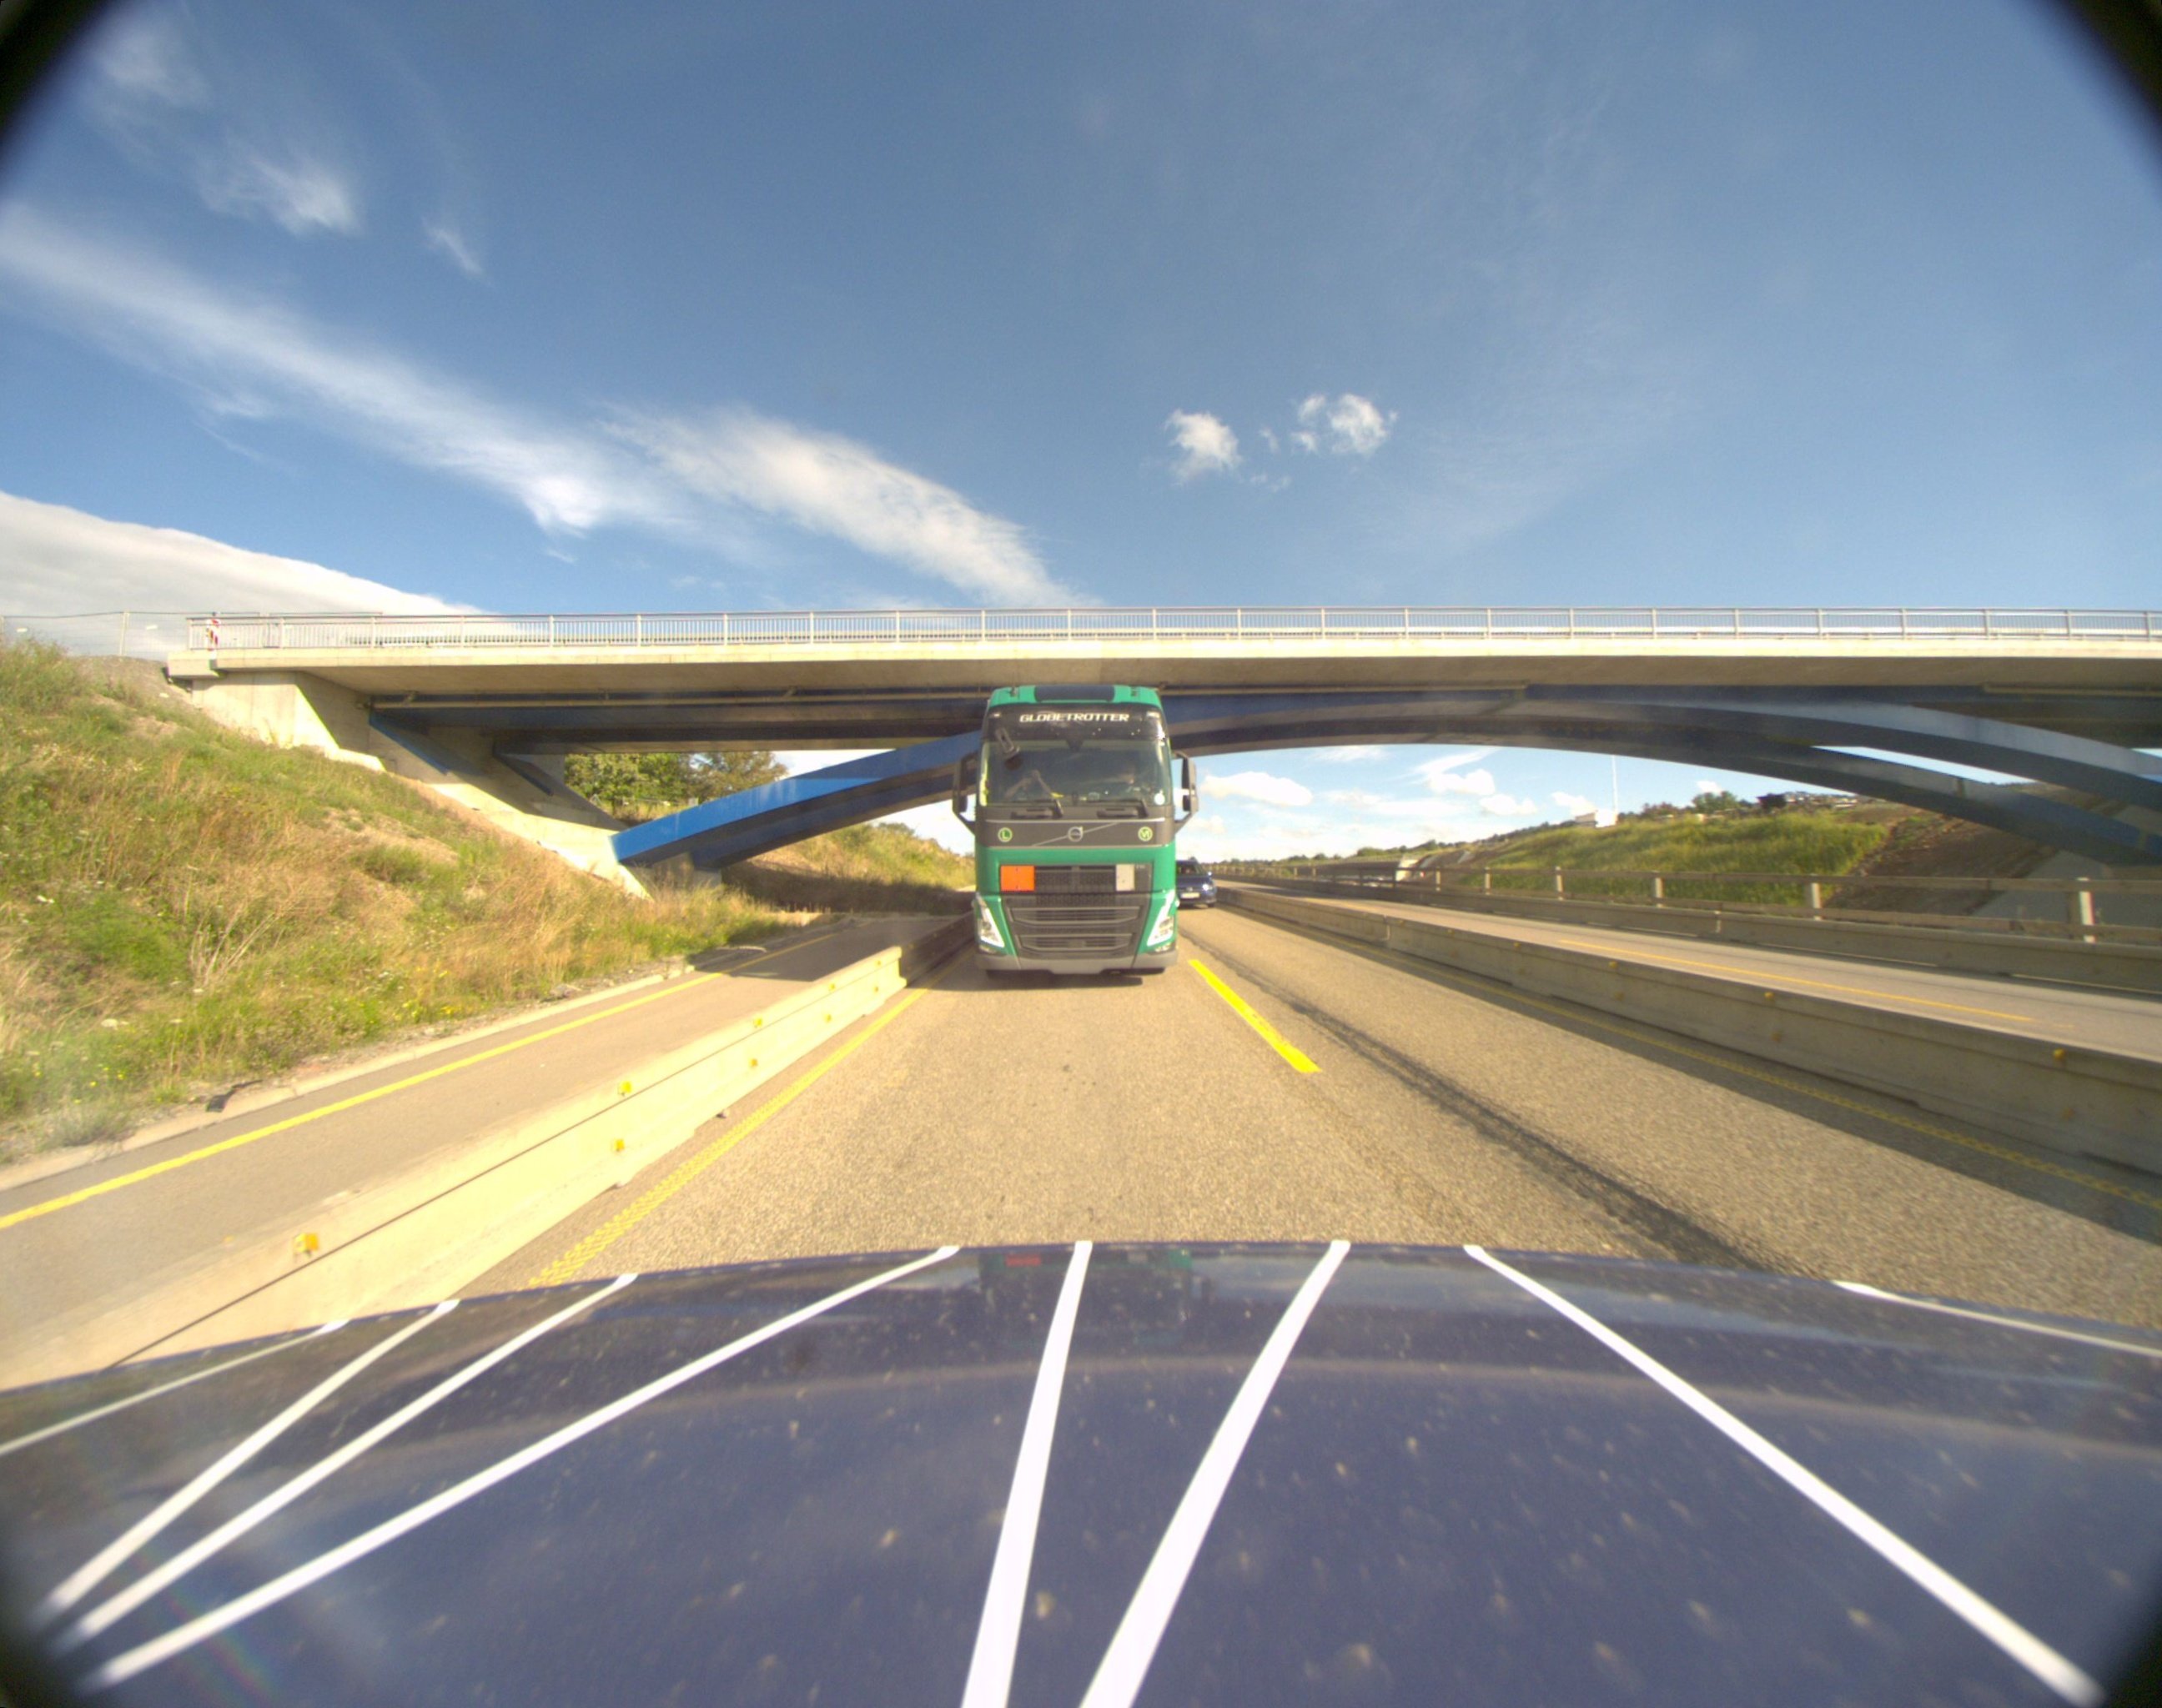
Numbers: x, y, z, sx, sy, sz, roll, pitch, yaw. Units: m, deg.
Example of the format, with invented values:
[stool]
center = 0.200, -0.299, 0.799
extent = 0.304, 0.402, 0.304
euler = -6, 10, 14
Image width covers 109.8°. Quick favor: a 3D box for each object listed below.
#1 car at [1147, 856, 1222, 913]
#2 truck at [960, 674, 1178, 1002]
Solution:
[car]
center = 3.041, 0.859, 23.083
extent = 1.719, 1.499, 4.000
euler = -2, 0, 0
[truck]
center = -0.210, -0.195, 13.282
extent = 2.546, 3.899, 8.278
euler = -1, 0, -1
